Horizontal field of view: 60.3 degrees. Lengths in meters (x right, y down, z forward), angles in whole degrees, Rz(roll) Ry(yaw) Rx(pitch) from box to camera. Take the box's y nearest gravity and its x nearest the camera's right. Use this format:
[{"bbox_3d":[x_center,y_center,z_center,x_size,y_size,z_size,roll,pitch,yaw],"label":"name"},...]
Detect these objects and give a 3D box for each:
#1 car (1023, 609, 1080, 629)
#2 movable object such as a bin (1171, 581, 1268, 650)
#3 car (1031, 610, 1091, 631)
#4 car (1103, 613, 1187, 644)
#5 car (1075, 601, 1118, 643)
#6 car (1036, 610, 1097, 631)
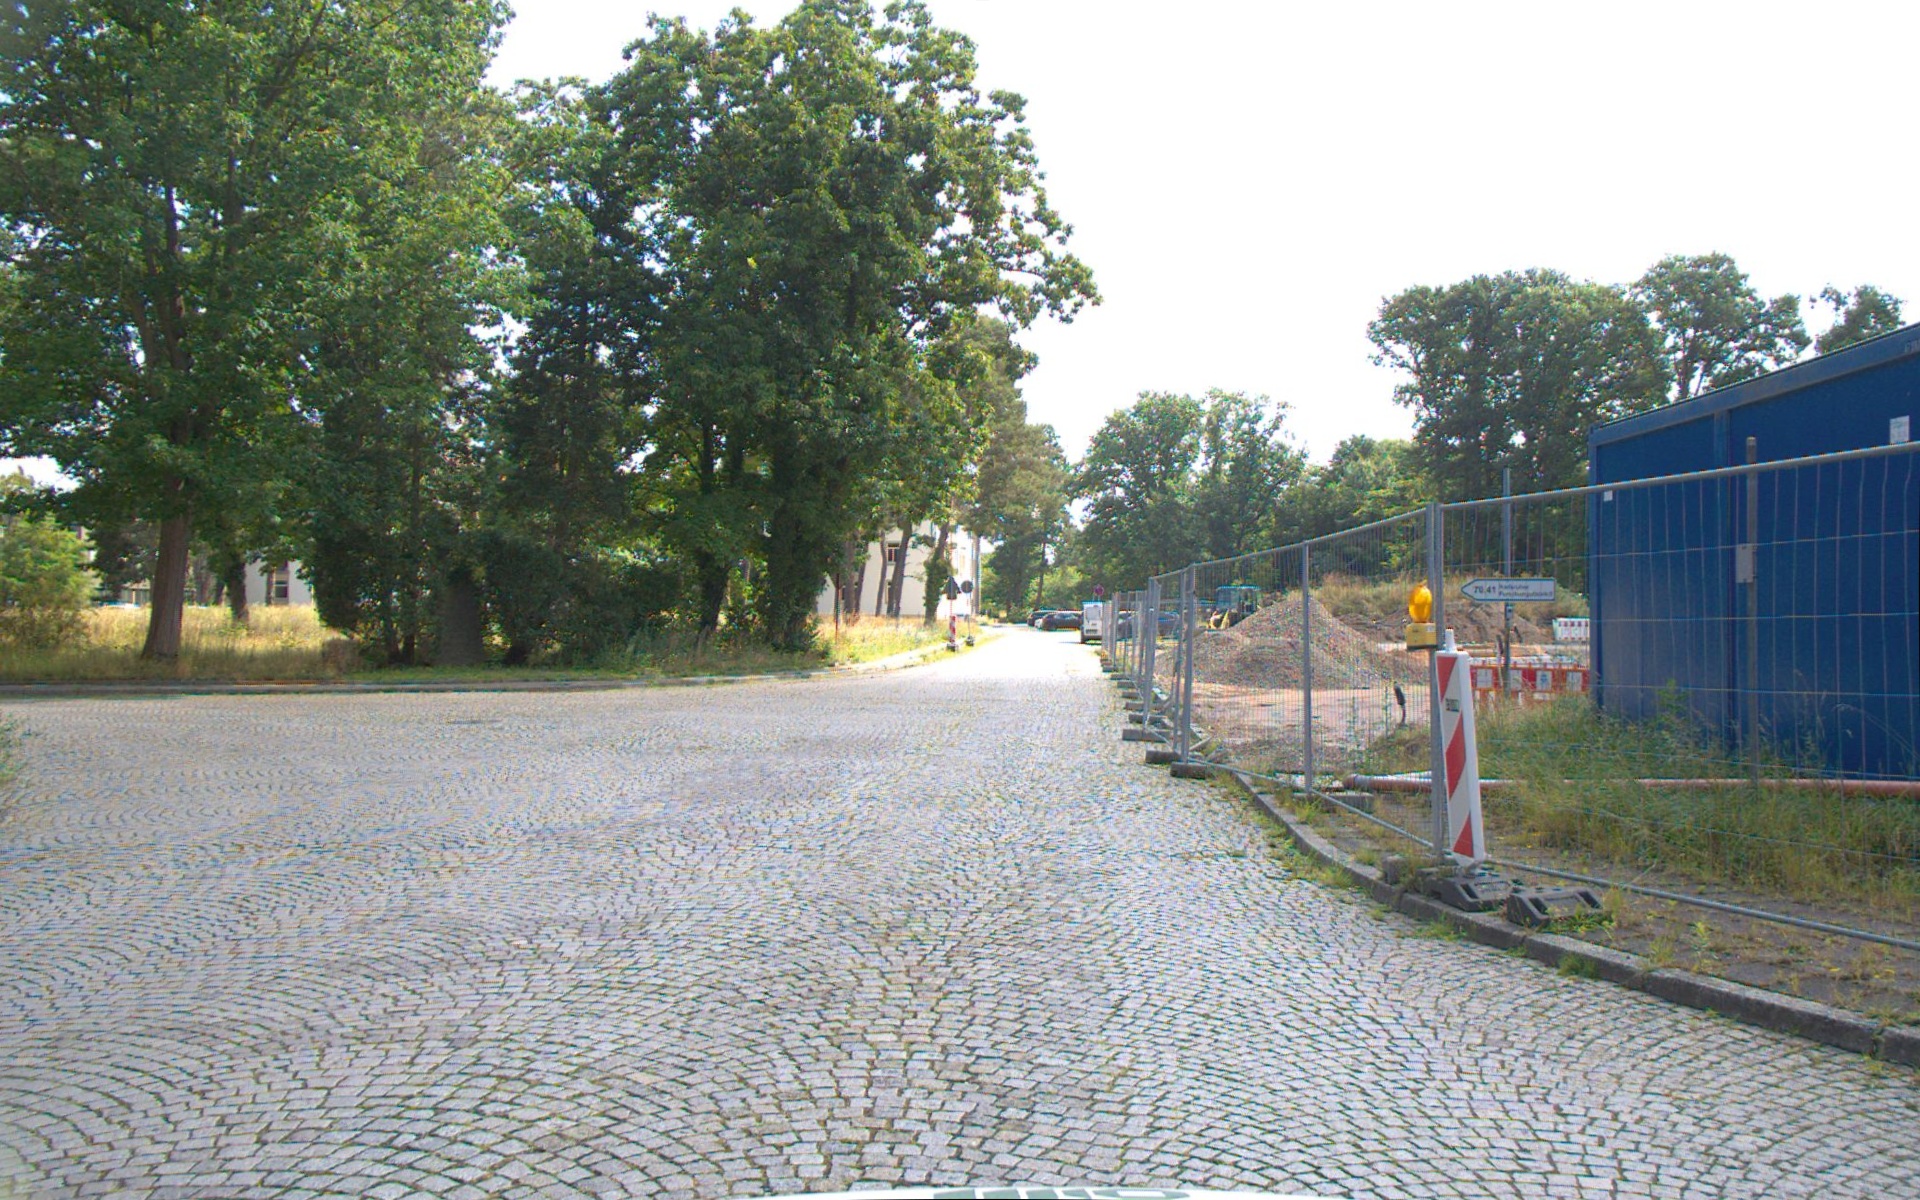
[{"bbox_3d":[7.729,1.644,140.636,4.683,1.669,1.999,0,-1,-2],"label":"car"},{"bbox_3d":[10.287,0.599,65.381,2.090,2.638,4.778,0,0,32],"label":"movable object such as a bin"},{"bbox_3d":[8.170,1.627,134.244,4.683,1.669,1.999,0,-1,-2],"label":"car"},{"bbox_3d":[9.922,1.505,88.625,4.308,1.537,2.002,1,0,12],"label":"car"},{"bbox_3d":[6.843,1.101,83.084,1.952,2.049,4.092,0,-1,2],"label":"car"},{"bbox_3d":[8.420,1.616,131.120,4.683,1.669,1.999,0,-1,-2],"label":"car"}]
